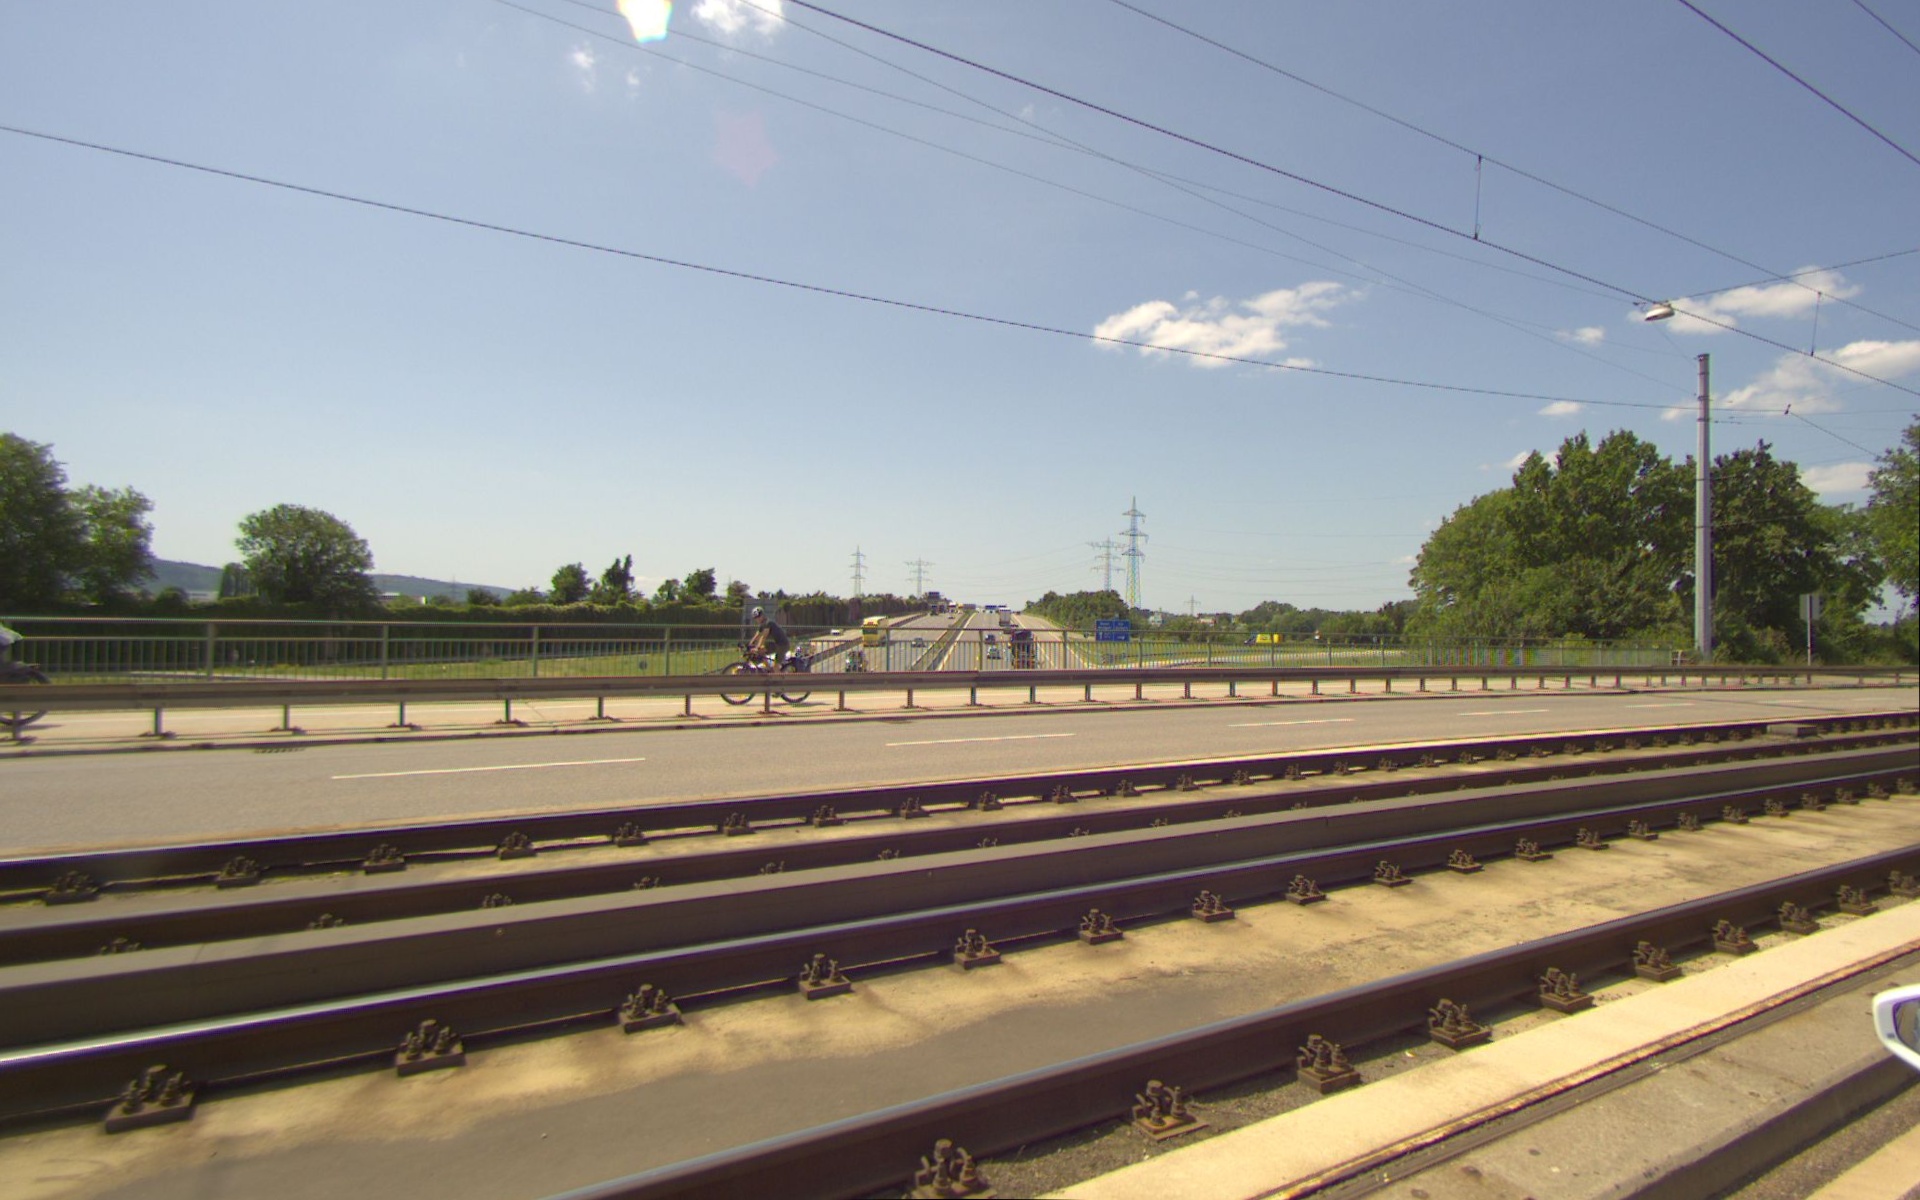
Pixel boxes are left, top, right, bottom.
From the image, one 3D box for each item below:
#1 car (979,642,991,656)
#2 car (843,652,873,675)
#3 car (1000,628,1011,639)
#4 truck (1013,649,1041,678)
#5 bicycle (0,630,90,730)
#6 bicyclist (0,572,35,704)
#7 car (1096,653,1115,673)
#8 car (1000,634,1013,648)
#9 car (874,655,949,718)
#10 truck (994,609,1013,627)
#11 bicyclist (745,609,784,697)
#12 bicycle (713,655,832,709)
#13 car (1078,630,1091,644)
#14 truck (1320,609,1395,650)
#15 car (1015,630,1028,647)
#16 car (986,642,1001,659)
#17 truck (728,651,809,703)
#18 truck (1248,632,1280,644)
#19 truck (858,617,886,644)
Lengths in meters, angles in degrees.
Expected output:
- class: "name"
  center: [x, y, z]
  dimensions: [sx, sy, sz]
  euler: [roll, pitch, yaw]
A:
- class: "car"
  center: [4.038, 7.867, 162.040]
  dimensions: [1.705, 1.664, 4.000]
  euler: [4, 4, 3]
- class: "car"
  center: [-10.713, 6.603, 105.624]
  dimensions: [2.069, 2.040, 5.399]
  euler: [2, 0, 6]
- class: "car"
  center: [9.086, 6.722, 200.899]
  dimensions: [1.896, 1.665, 4.001]
  euler: [3, 4, 6]
- class: "truck"
  center: [7.309, 6.827, 109.297]
  dimensions: [2.835, 2.239, 6.450]
  euler: [3, 3, 5]
- class: "bicycle"
  center: [-12.378, 0.994, 12.611]
  dimensions: [2.038, 1.201, 0.852]
  euler: [2, 0, -31]
- class: "bicyclist"
  center: [-12.317, 0.462, 12.629]
  dimensions: [0.828, 1.643, 0.759]
  euler: [2, 0, -30]
- class: "car"
  center: [18.054, 7.791, 124.711]
  dimensions: [1.960, 2.041, 4.001]
  euler: [4, 2, 5]
- class: "car"
  center: [7.152, 6.290, 153.419]
  dimensions: [1.705, 1.665, 4.001]
  euler: [4, 4, 5]
- class: "car"
  center: [-4.537, 8.484, 102.891]
  dimensions: [4.919, 4.547, 22.466]
  euler: [2, 0, 4]
- class: "truck"
  center: [10.321, 4.176, 238.638]
  dimensions: [3.593, 3.756, 8.196]
  euler: [1, 2, -2]
- class: "bicyclist"
  center: [-3.451, 0.921, 17.746]
  dimensions: [0.523, 1.517, 0.518]
  euler: [1, 0, -29]
- class: "bicycle"
  center: [-3.320, 1.433, 17.830]
  dimensions: [2.011, 0.854, 0.520]
  euler: [1, 1, -30]
- class: "car"
  center: [19.313, 5.756, 155.388]
  dimensions: [1.705, 1.665, 4.001]
  euler: [3, 4, 10]
- class: "truck"
  center: [64.197, 4.750, 162.356]
  dimensions: [10.615, 5.714, 3.289]
  euler: [3, 4, 28]
- class: "car"
  center: [7.542, 4.727, 123.040]
  dimensions: [1.440, 1.665, 3.458]
  euler: [3, 4, 6]
- class: "car"
  center: [4.290, 6.372, 127.669]
  dimensions: [1.564, 1.665, 4.001]
  euler: [4, 4, 7]
- class: "truck"
  center: [-15.606, 6.184, 83.206]
  dimensions: [2.693, 3.268, 13.735]
  euler: [2, 0, 6]
- class: "truck"
  center: [49.649, 6.168, 164.005]
  dimensions: [4.726, 1.792, 1.943]
  euler: [2, 2, 38]
- class: "truck"
  center: [-13.823, 4.774, 159.063]
  dimensions: [2.588, 3.811, 16.555]
  euler: [2, 0, 1]
